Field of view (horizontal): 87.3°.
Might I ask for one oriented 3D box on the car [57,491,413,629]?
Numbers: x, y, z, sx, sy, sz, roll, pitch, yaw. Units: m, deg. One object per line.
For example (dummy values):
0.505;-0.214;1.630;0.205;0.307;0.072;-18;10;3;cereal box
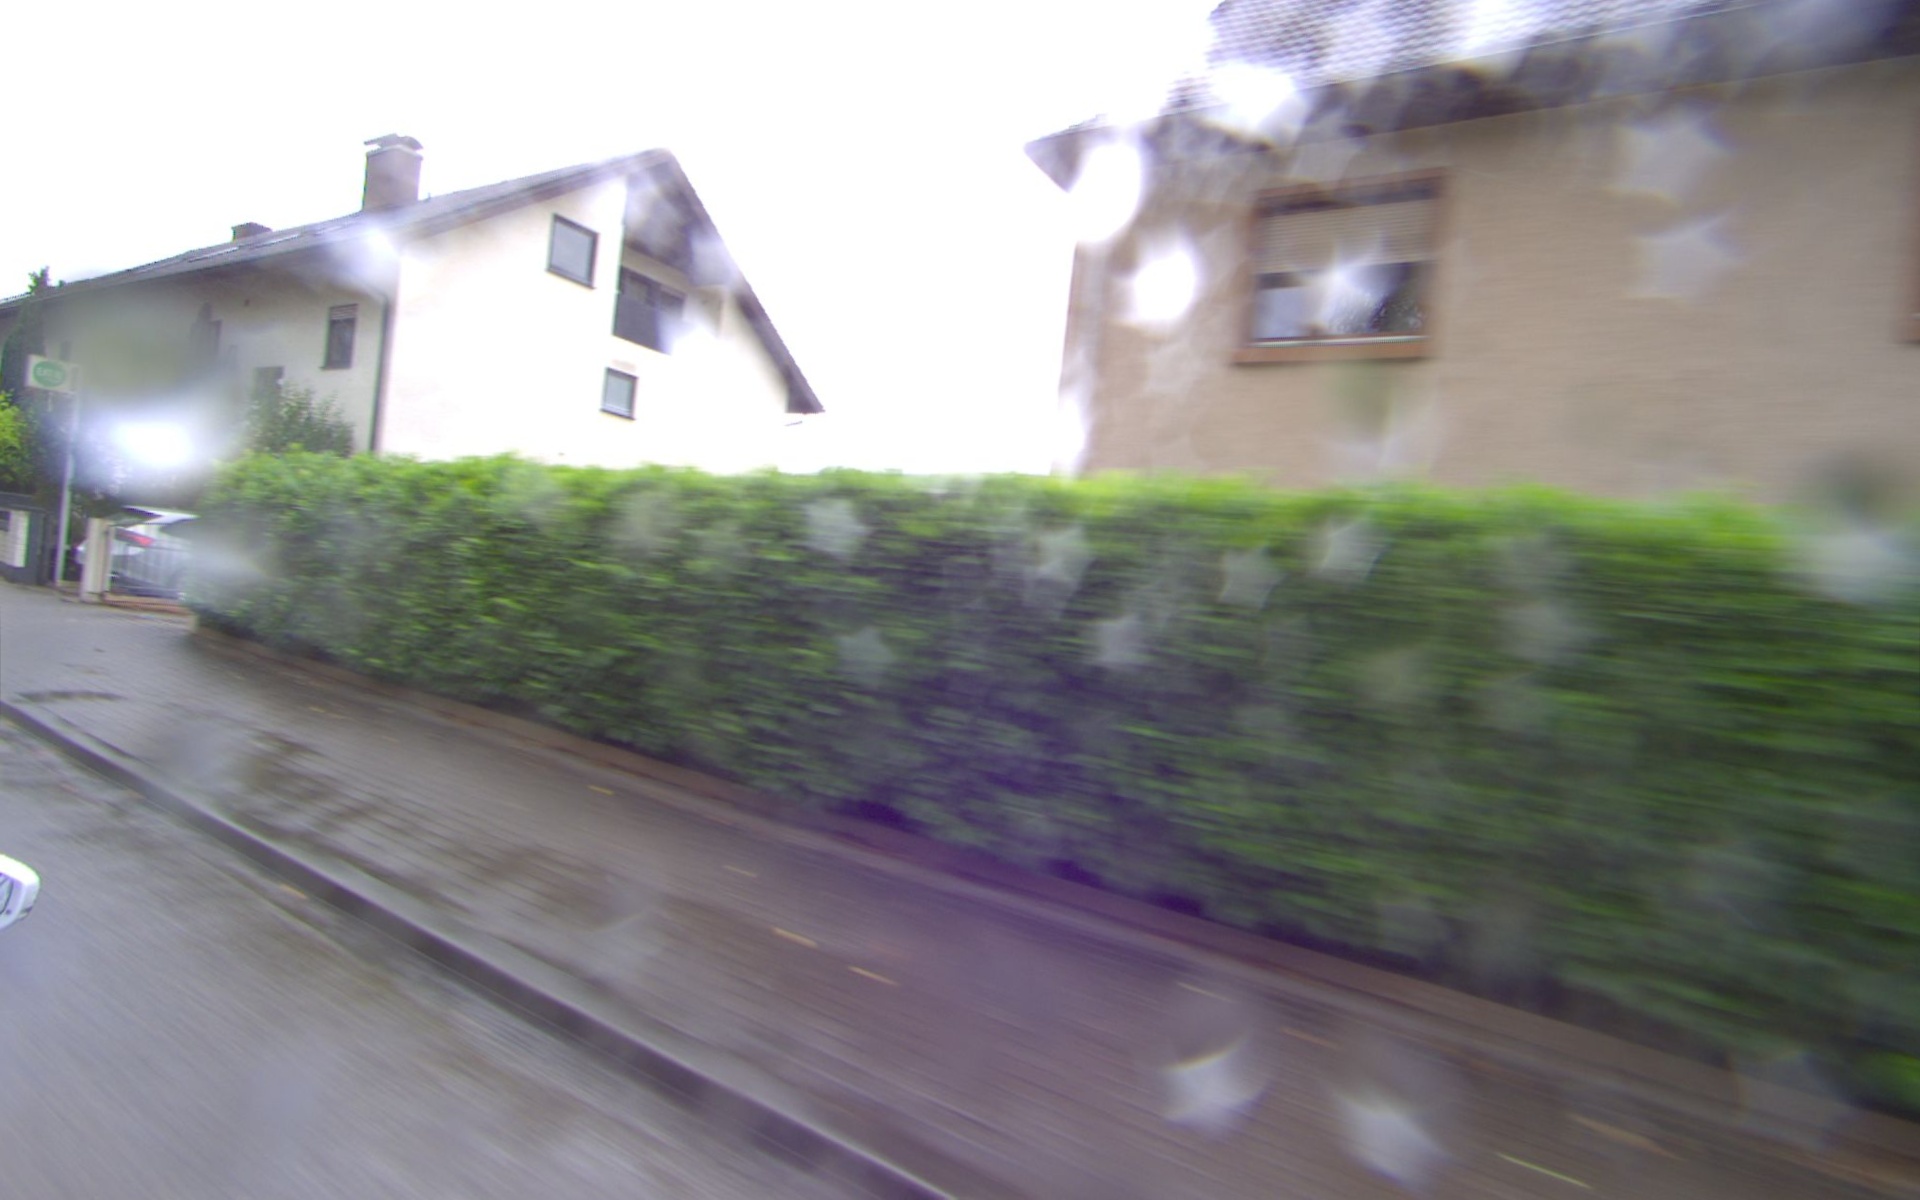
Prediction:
-11.465;-0.551;16.249;1.674;1.462;4.231;8;-2;32;car
